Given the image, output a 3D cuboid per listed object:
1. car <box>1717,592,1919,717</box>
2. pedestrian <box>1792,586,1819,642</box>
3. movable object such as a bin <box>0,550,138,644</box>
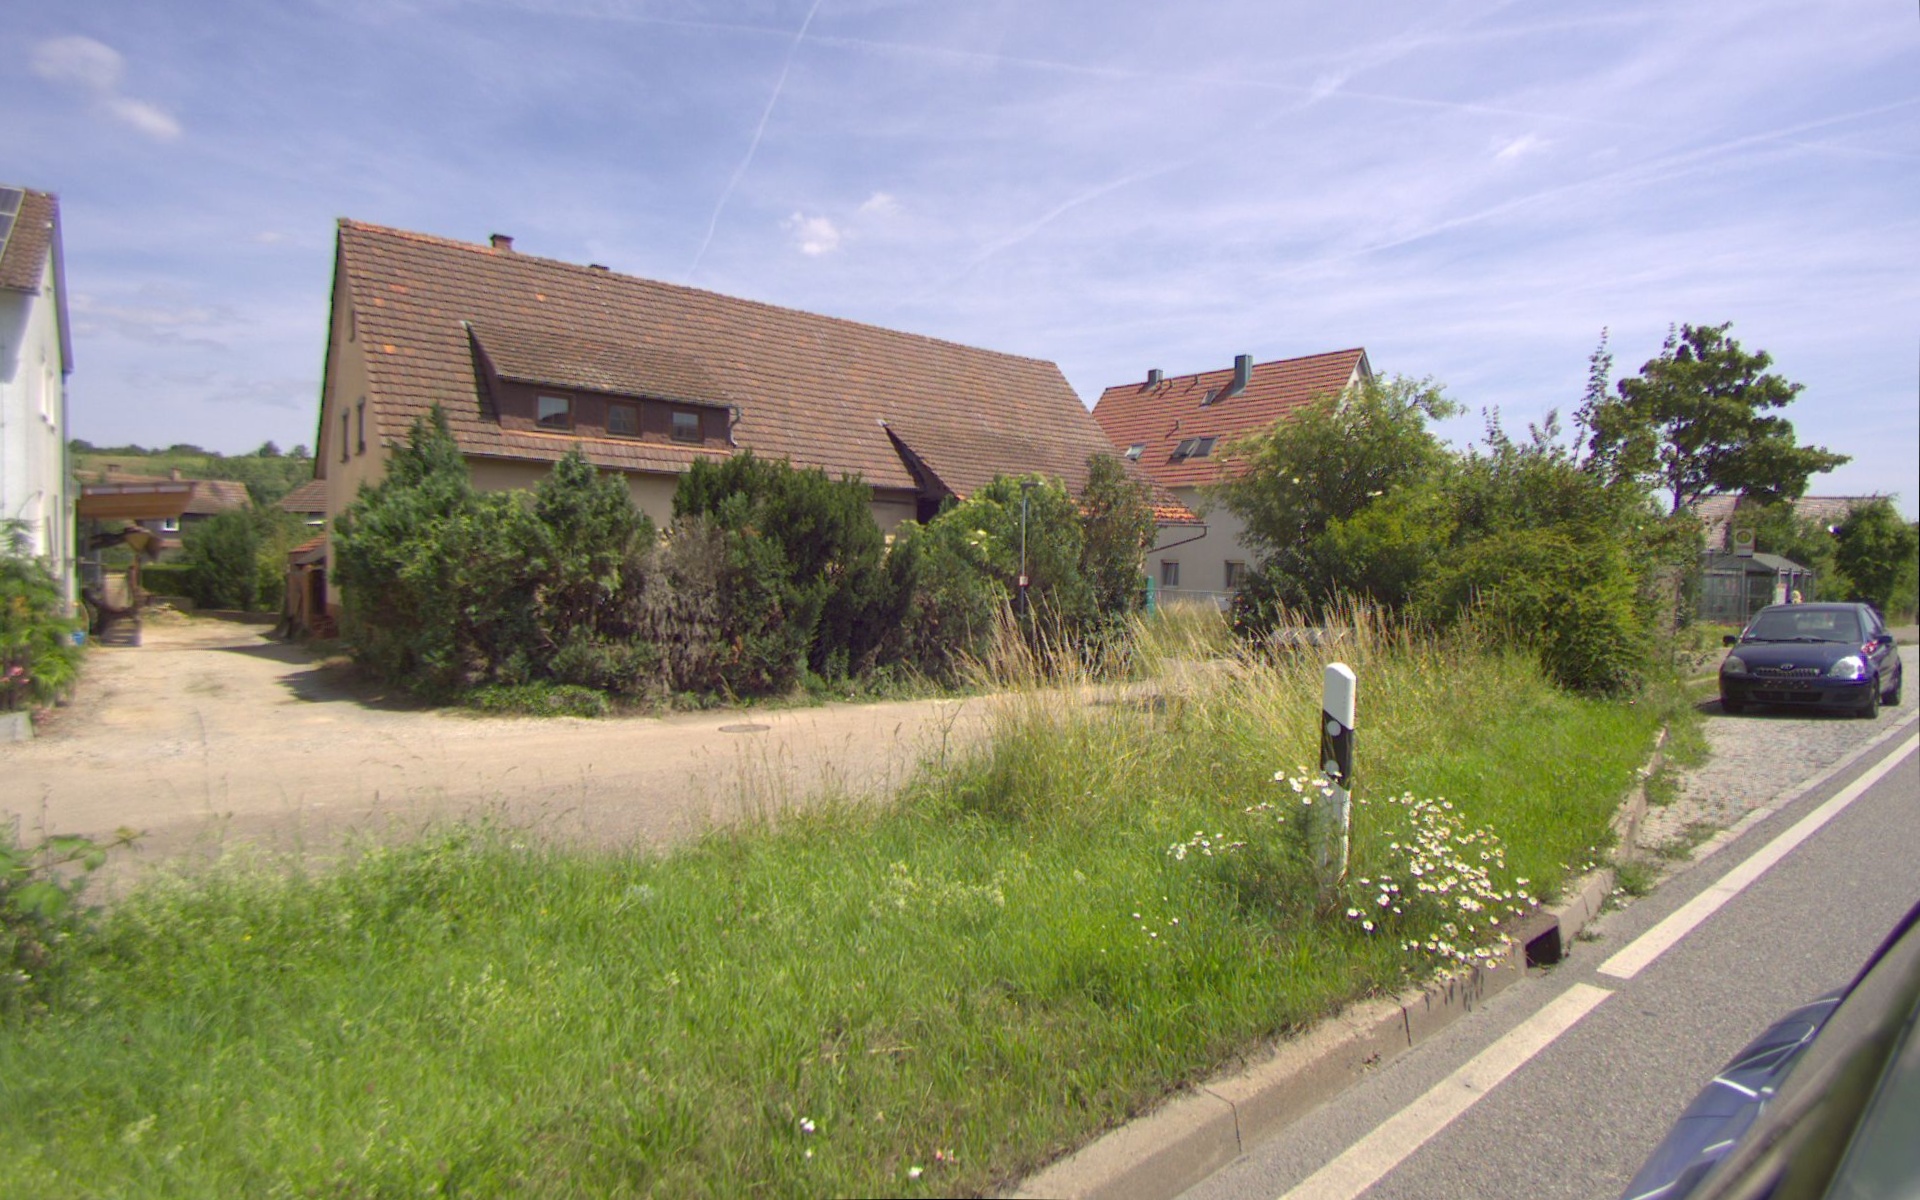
[{"bbox_3d":[12.178,0.684,14.294,3.490,1.503,1.634,-1,-1,-41],"label":"car"},{"bbox_3d":[24.206,0.390,28.981,0.517,1.568,0.556,0,1,31],"label":"pedestrian"},{"bbox_3d":[-28.768,-0.060,32.195,3.929,2.797,1.838,3,-2,-41],"label":"movable object such as a bin"}]
